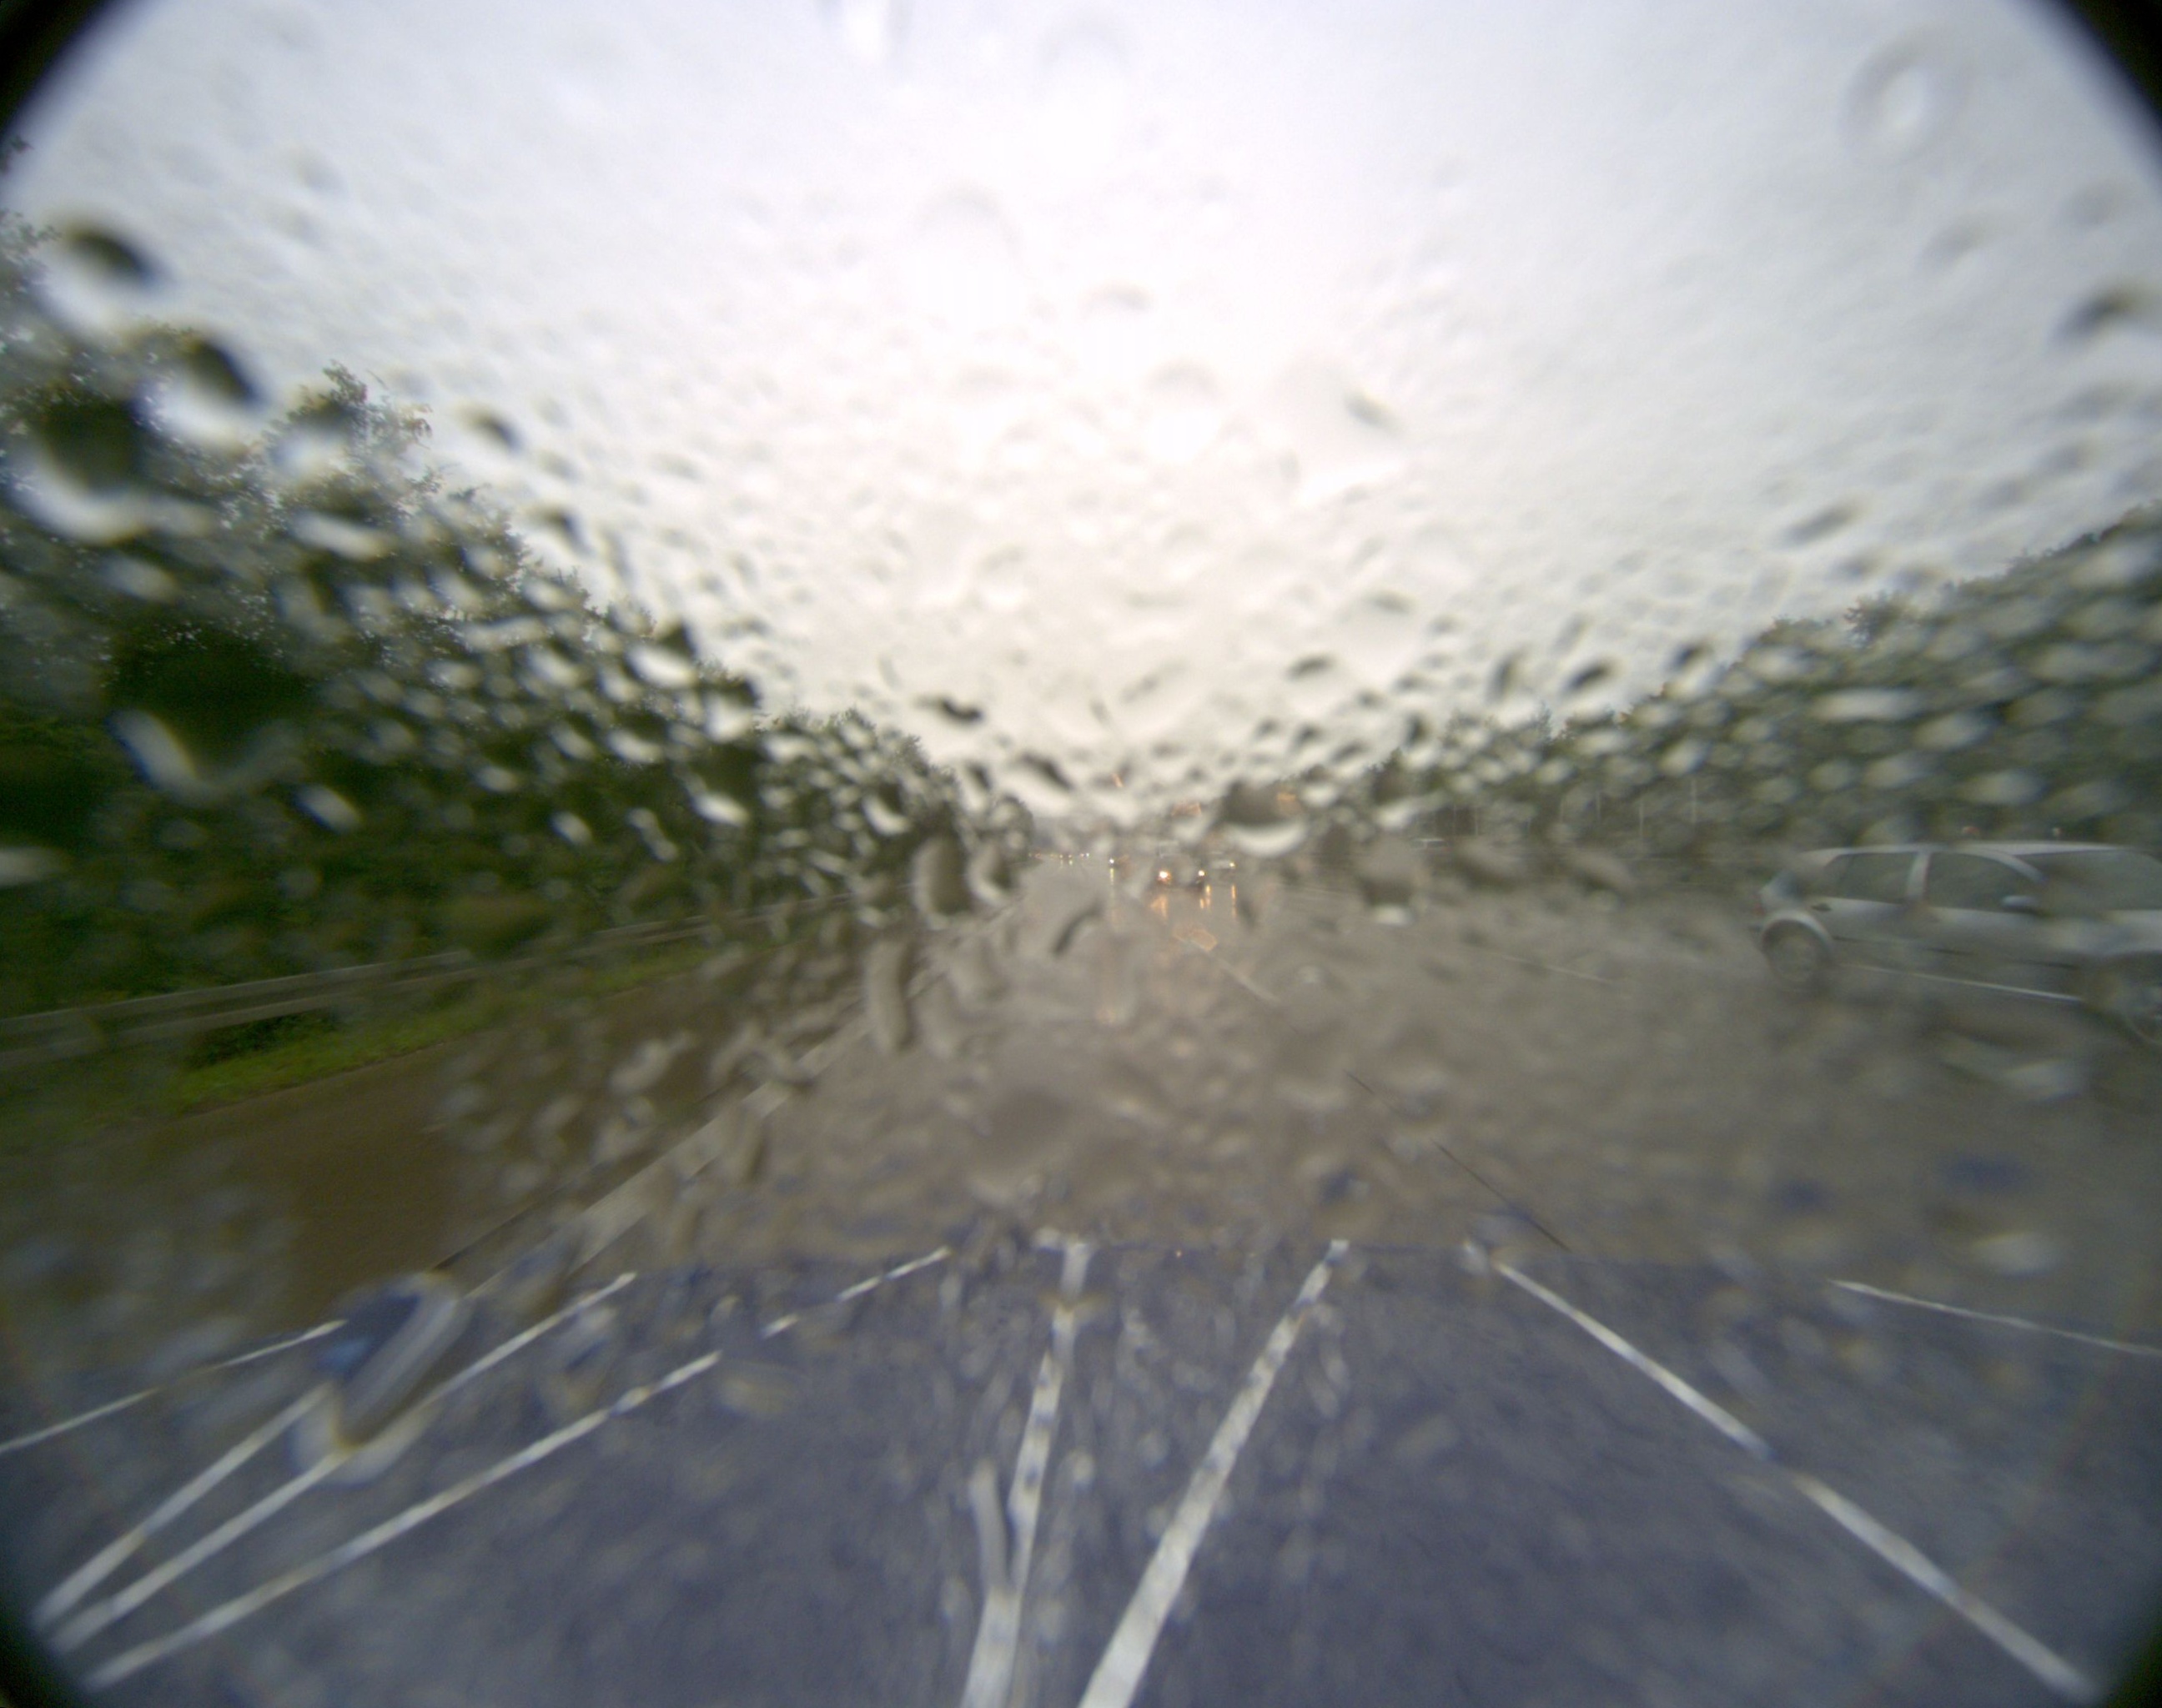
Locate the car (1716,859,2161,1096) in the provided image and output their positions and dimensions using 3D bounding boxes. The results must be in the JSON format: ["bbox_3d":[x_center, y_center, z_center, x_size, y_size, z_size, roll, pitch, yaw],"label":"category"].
[{"bbox_3d":[7.700,0.803,5.988,1.671,1.426,4.349,-2,1,-1],"label":"car"}]

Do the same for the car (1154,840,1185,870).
[{"bbox_3d":[8.123,0.042,70.425,2.046,2.616,6.402,-1,1,-1],"label":"car"}]

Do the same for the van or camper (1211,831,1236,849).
[{"bbox_3d":[23.223,-2.231,124.270,2.562,2.702,7.498,-3,1,0],"label":"van or camper"}]

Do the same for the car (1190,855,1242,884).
[{"bbox_3d":[7.263,0.785,41.373,1.934,1.426,4.517,-1,1,-1],"label":"car"}]

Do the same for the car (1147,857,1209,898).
[{"bbox_3d":[3.850,0.893,30.917,1.934,1.426,4.517,-1,1,0],"label":"car"}]

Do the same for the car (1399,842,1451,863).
[{"bbox_3d":[24.344,-0.117,53.946,1.671,1.426,4.517,-2,0,0],"label":"car"}]

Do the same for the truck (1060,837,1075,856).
[{"bbox_3d":[-2.980,-1.619,173.294,3.058,3.994,10.044,-1,-2,1],"label":"truck"}]

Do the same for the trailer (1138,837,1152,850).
[{"bbox_3d":[19.431,-3.146,231.161,2.774,3.779,13.776,-4,0,0],"label":"trailer"}]

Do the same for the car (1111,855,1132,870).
[{"bbox_3d":[4.020,0.826,76.126,1.934,1.426,4.517,-1,1,0],"label":"car"}]

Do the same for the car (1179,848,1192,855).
[{"bbox_3d":[20.199,-0.492,147.542,1.757,1.296,4.343,-4,0,-1],"label":"car"}]
